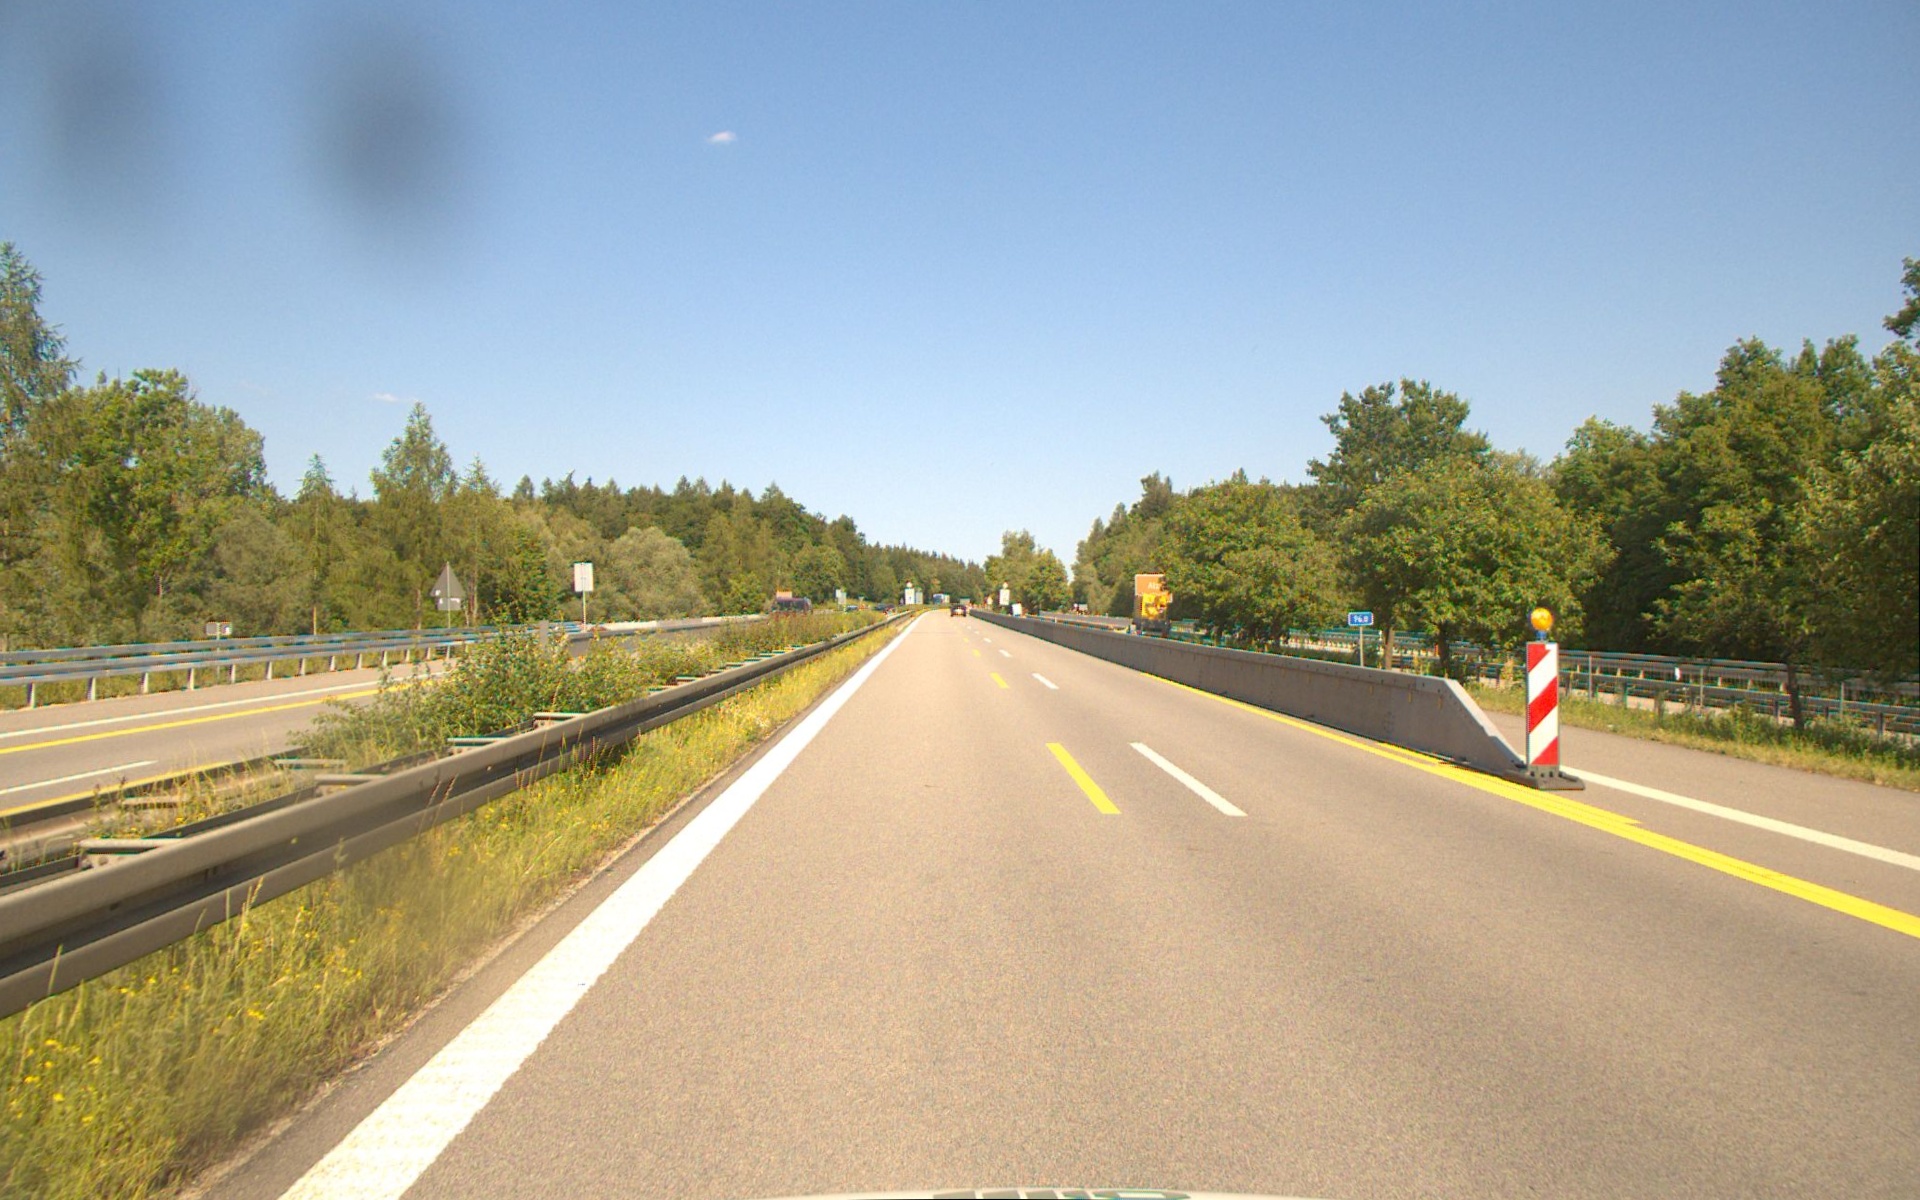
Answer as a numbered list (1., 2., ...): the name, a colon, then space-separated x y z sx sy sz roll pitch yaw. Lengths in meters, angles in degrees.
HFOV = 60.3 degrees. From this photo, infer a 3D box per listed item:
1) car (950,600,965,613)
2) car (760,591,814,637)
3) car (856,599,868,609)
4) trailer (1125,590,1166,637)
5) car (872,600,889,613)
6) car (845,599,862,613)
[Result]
1. car: -0.289 0.725 193.660 1.708 1.492 4.293 -1 0 -1
2. car: -7.923 0.634 76.373 1.835 2.008 5.577 1 0 0
3. car: -15.083 0.631 255.138 1.708 1.492 4.908 -1 0 -1
4. trailer: 7.877 0.555 70.454 1.102 1.906 3.998 -1 0 -3
5. car: -8.854 0.744 184.305 1.612 1.401 4.808 -1 0 0
6. car: -11.645 0.653 180.425 1.648 1.417 4.191 -1 0 -1
